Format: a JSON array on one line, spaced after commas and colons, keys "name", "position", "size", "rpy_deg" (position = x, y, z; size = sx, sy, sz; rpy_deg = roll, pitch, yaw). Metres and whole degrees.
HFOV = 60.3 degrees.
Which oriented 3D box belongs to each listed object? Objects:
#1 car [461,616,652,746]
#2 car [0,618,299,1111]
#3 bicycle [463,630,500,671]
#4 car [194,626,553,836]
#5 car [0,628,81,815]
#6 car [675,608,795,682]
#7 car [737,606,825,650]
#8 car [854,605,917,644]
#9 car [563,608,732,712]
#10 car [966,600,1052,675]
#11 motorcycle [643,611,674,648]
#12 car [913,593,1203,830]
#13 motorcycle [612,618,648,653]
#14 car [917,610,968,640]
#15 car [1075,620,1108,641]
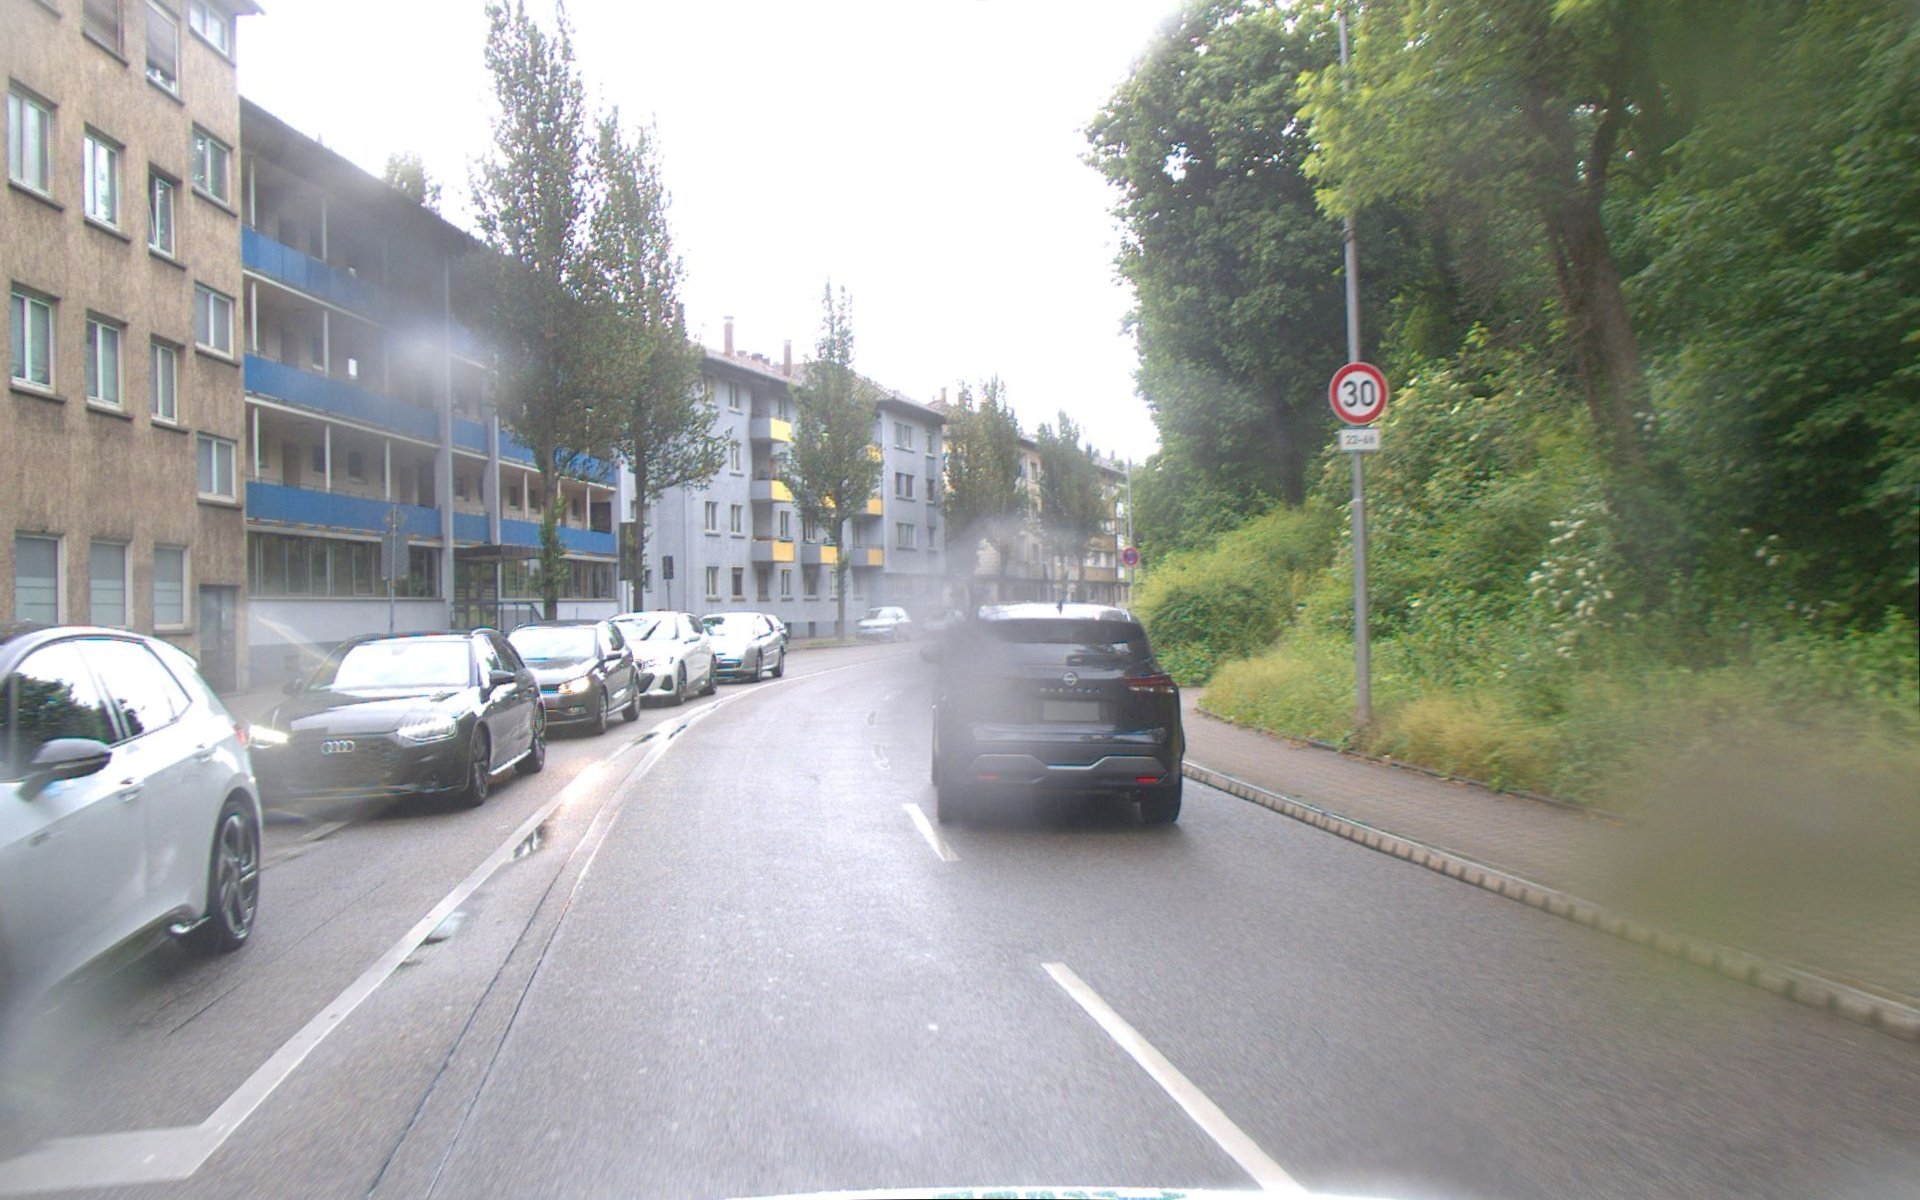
[{"name": "car", "position": [-5.237, 0.995, 21.932], "size": [1.646, 1.472, 3.819], "rpy_deg": [-3, 0, -2]}, {"name": "car", "position": [-4.024, 0.880, 6.217], "size": [1.751, 1.522, 4.210], "rpy_deg": [-3, 0, -7]}, {"name": "bicycle", "position": [-12.678, 1.327, 43.852], "size": [0.600, 1.041, 1.732], "rpy_deg": [-2, 0, -5]}, {"name": "car", "position": [-4.853, 0.989, 14.418], "size": [1.755, 1.431, 4.621], "rpy_deg": [-2, 0, -4]}, {"name": "car", "position": [-8.449, 1.018, 12.677], "size": [1.626, 1.481, 3.994], "rpy_deg": [-3, 0, -7]}, {"name": "car", "position": [-4.797, 0.922, 35.874], "size": [1.716, 1.450, 4.538], "rpy_deg": [-2, 0, 3]}, {"name": "car", "position": [-6.595, 1.029, 61.549], "size": [1.782, 1.464, 4.896], "rpy_deg": [-3, -1, 11]}, {"name": "car", "position": [-3.373, 1.091, 75.668], "size": [1.726, 1.632, 4.537], "rpy_deg": [-2, 0, 12]}, {"name": "car", "position": [-5.266, 0.950, 28.538], "size": [1.782, 1.543, 5.029], "rpy_deg": [-3, 0, 1]}, {"name": "car", "position": [1.273, 0.893, 40.990], "size": [1.847, 1.741, 4.002], "rpy_deg": [-1, 0, 5]}, {"name": "motorcycle", "position": [-12.043, 1.170, 66.179], "size": [0.661, 1.439, 2.237], "rpy_deg": [1, 0, 4]}, {"name": "car", "position": [0.627, 0.752, 13.361], "size": [1.808, 1.610, 3.996], "rpy_deg": [0, 0, -5]}, {"name": "motorcycle", "position": [-12.353, 1.316, 62.018], "size": [0.661, 1.276, 2.238], "rpy_deg": [1, 0, 7]}, {"name": "car", "position": [-0.902, 1.297, 86.342], "size": [1.687, 1.478, 4.209], "rpy_deg": [-2, -1, 13]}, {"name": "car", "position": [9.951, 2.279, 124.824], "size": [1.591, 1.411, 3.990], "rpy_deg": [-2, 0, 17]}]
